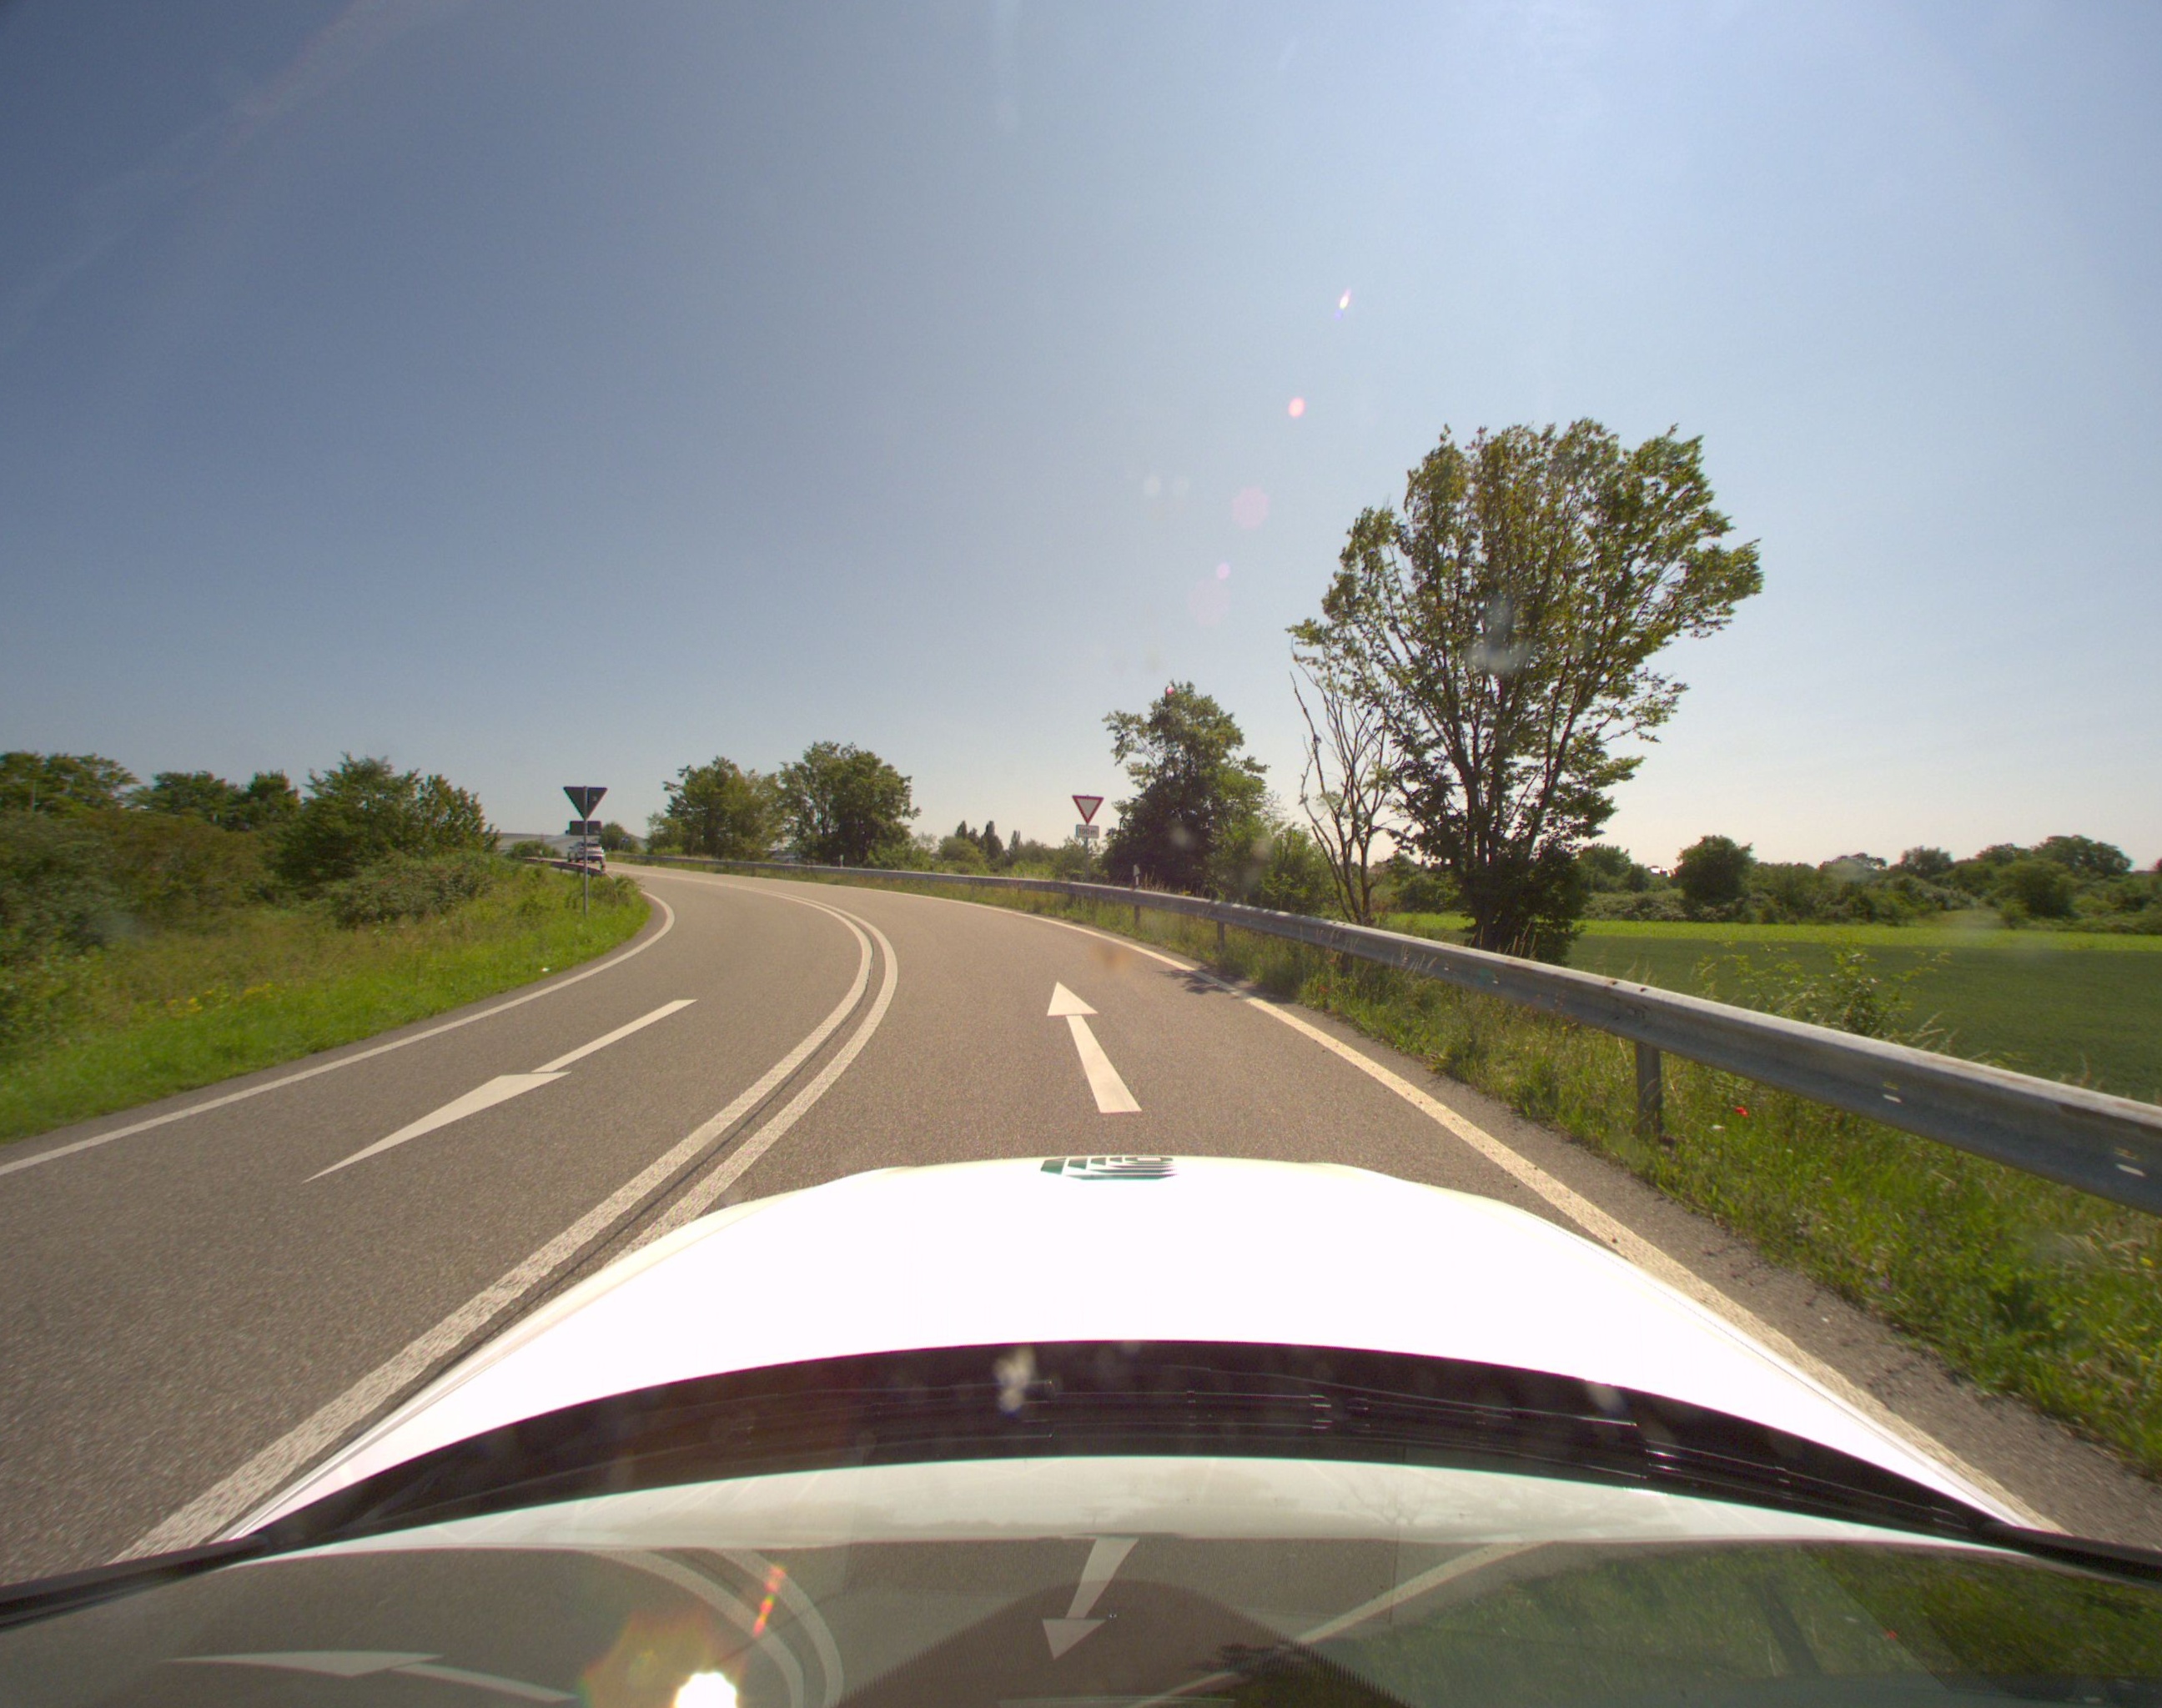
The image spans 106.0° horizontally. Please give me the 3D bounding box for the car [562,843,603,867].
[{"bbox_3d":[-36.917,0.126,60.267,1.824,1.691,3.951,1,-2,-43],"label":"car"}]
